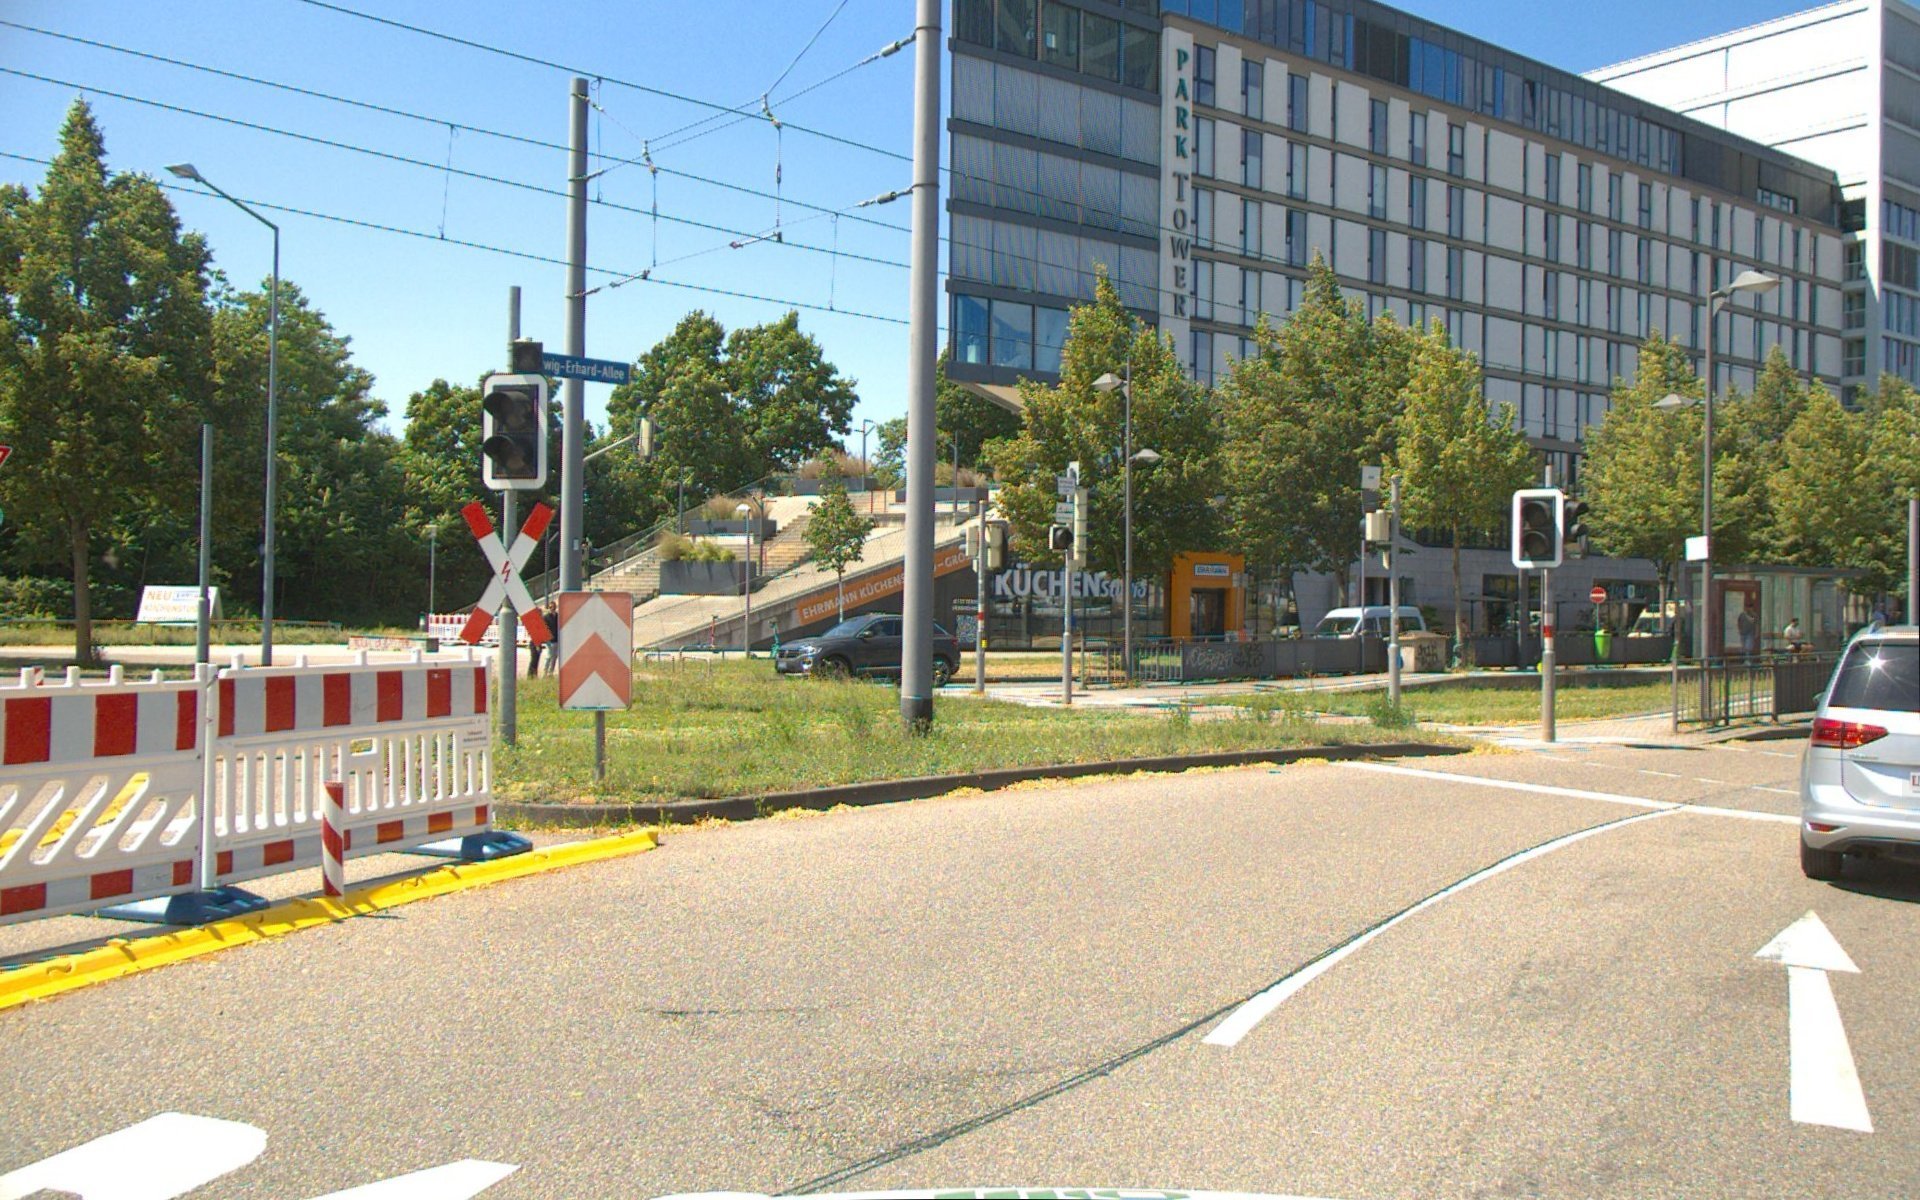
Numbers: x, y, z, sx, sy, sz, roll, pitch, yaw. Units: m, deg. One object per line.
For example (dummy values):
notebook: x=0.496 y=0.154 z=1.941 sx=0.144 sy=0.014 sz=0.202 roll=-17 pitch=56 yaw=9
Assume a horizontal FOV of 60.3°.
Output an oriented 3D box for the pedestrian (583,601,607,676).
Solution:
pedestrian: x=-8.587 y=0.906 z=38.937 sx=0.444 sy=1.769 sz=0.287 roll=2 pitch=-1 yaw=-38

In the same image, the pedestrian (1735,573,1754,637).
pedestrian: x=21.974 y=0.141 z=46.304 sx=0.456 sy=1.769 sz=0.478 roll=1 pitch=-1 yaw=25

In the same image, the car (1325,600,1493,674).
car: x=13.857 y=1.137 z=50.880 sx=5.479 sy=2.143 sz=1.975 roll=1 pitch=-1 yaw=-36

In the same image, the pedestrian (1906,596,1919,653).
pedestrian: x=30.048 y=0.763 z=51.927 sx=0.580 sy=1.782 sz=0.405 roll=1 pitch=-1 yaw=-40

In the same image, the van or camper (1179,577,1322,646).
van or camper: x=12.765 y=0.525 z=72.364 sx=6.720 sy=2.872 sz=2.350 roll=2 pitch=-1 yaw=-39

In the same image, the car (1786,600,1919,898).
car: x=6.918 y=0.909 z=11.199 sx=1.769 sy=1.677 sz=4.589 roll=2 pitch=0 yaw=34

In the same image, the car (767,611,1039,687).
car: x=-1.214 y=1.069 z=36.478 sx=5.756 sy=1.544 sz=1.980 roll=1 pitch=0 yaw=-30

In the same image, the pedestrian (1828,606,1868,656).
pedestrian: x=26.412 y=0.921 z=49.197 sx=0.635 sy=1.438 sz=0.826 roll=1 pitch=-1 yaw=-37
